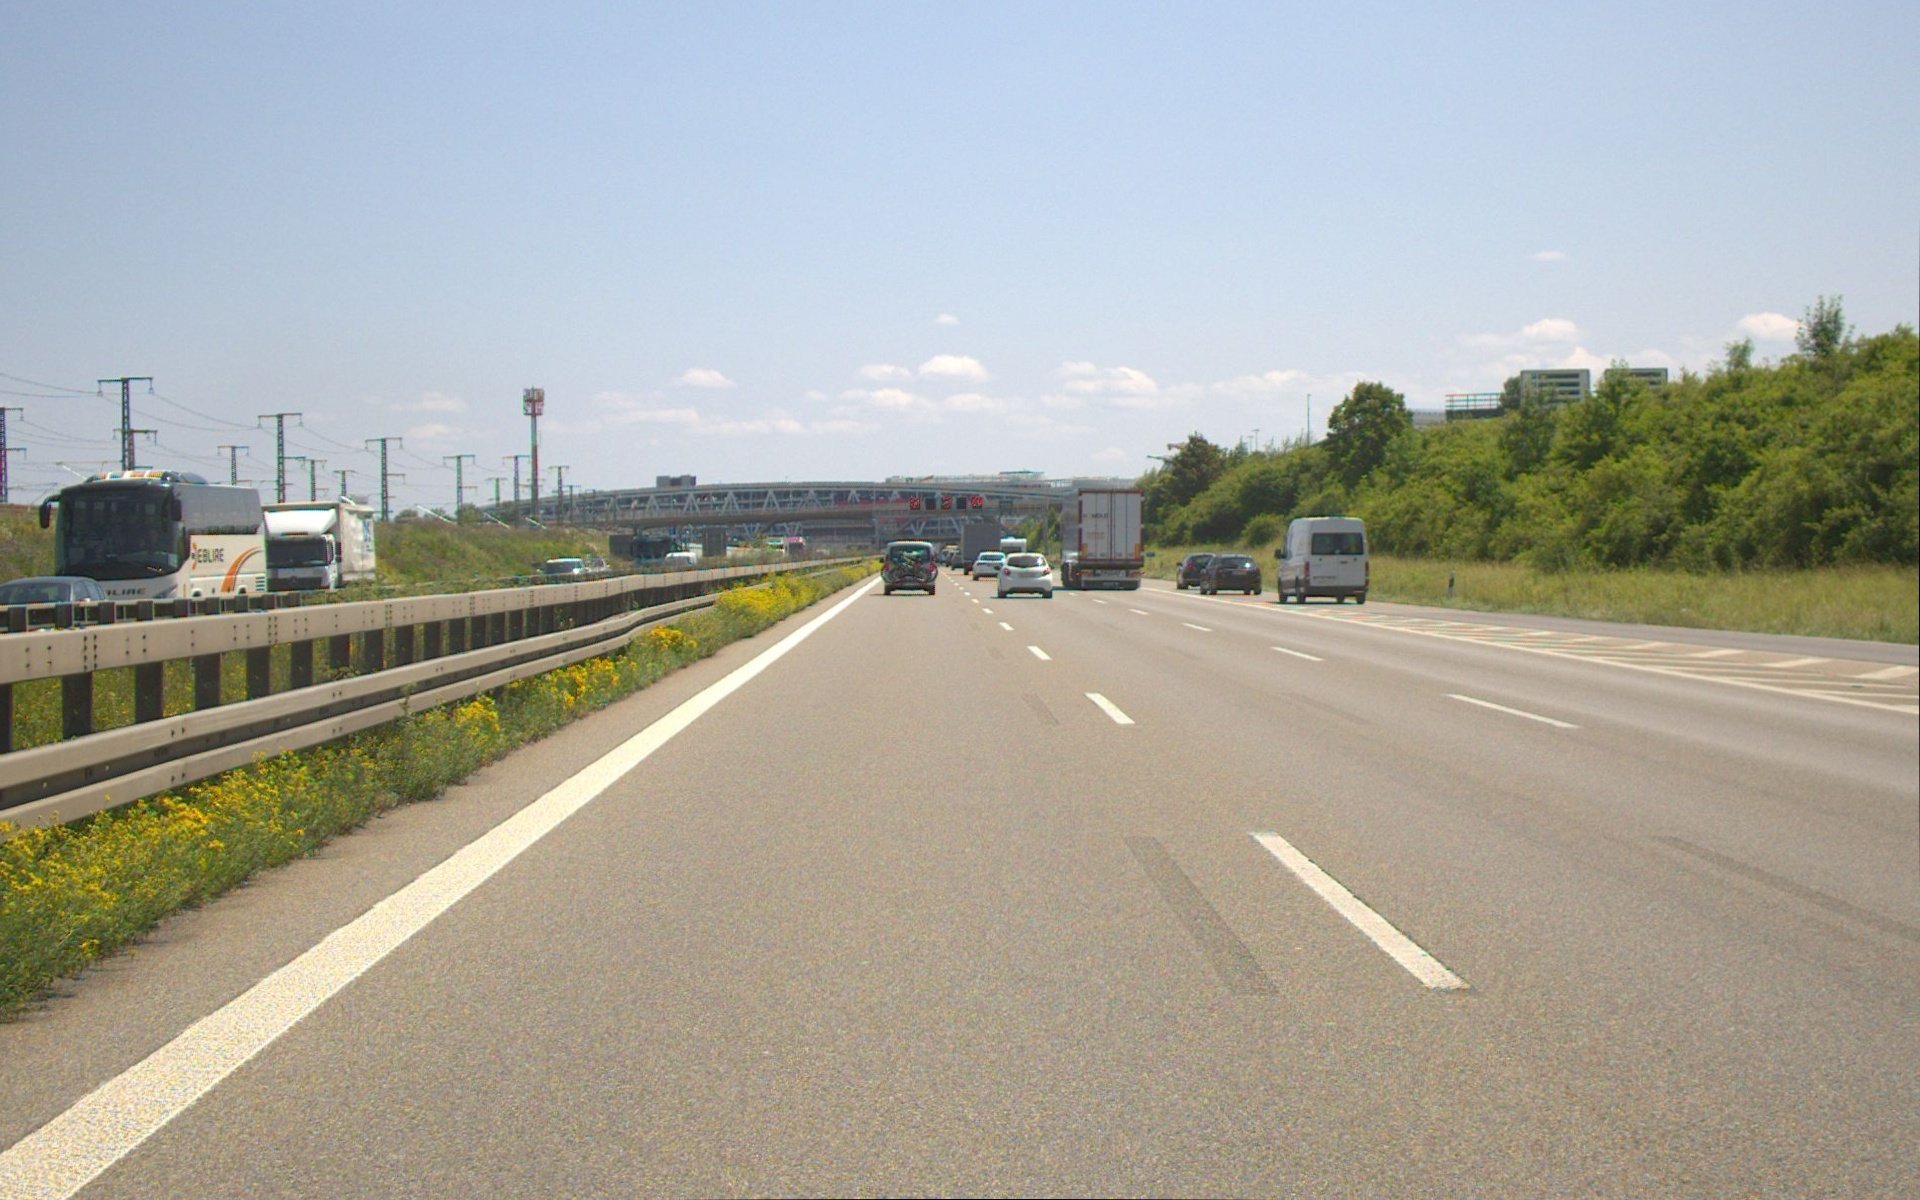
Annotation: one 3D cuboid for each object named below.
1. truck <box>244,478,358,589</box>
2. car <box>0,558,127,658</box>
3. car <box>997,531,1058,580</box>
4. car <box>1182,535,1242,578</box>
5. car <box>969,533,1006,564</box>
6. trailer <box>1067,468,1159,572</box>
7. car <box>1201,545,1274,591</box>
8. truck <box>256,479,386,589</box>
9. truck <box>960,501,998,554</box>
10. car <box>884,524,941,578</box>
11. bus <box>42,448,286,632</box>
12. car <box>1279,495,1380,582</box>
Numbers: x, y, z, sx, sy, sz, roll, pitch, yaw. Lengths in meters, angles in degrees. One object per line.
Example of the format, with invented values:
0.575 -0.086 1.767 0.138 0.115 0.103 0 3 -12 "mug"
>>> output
-21.191 -2.139 110.724 2.848 3.455 4.023 2 1 0 "truck"
-14.627 0.110 54.777 1.691 1.469 4.000 -3 1 0 "car"
2.220 -1.427 111.757 1.881 1.521 4.000 1 0 2 "car"
10.214 -1.752 139.567 1.993 1.590 4.000 2 -1 -1 "car"
1.431 -2.667 177.591 1.881 1.521 4.000 1 0 0 "car"
6.136 -3.209 139.226 3.177 4.046 9.440 -1 1 0 "trailer"
9.761 -1.120 121.246 1.993 1.503 4.000 2 -1 -3 "car"
-21.220 -2.184 114.490 2.857 3.455 7.781 2 1 -1 "truck"
1.205 -4.666 222.656 2.355 3.404 6.057 0 1 0 "truck"
-1.617 -1.668 117.982 1.880 1.769 4.000 0 0 0 "car"
-17.182 -1.309 75.014 2.856 3.633 10.942 1 1 -1 "bus"
11.010 -1.835 102.879 2.274 2.519 5.400 0 1 -2 "car"
